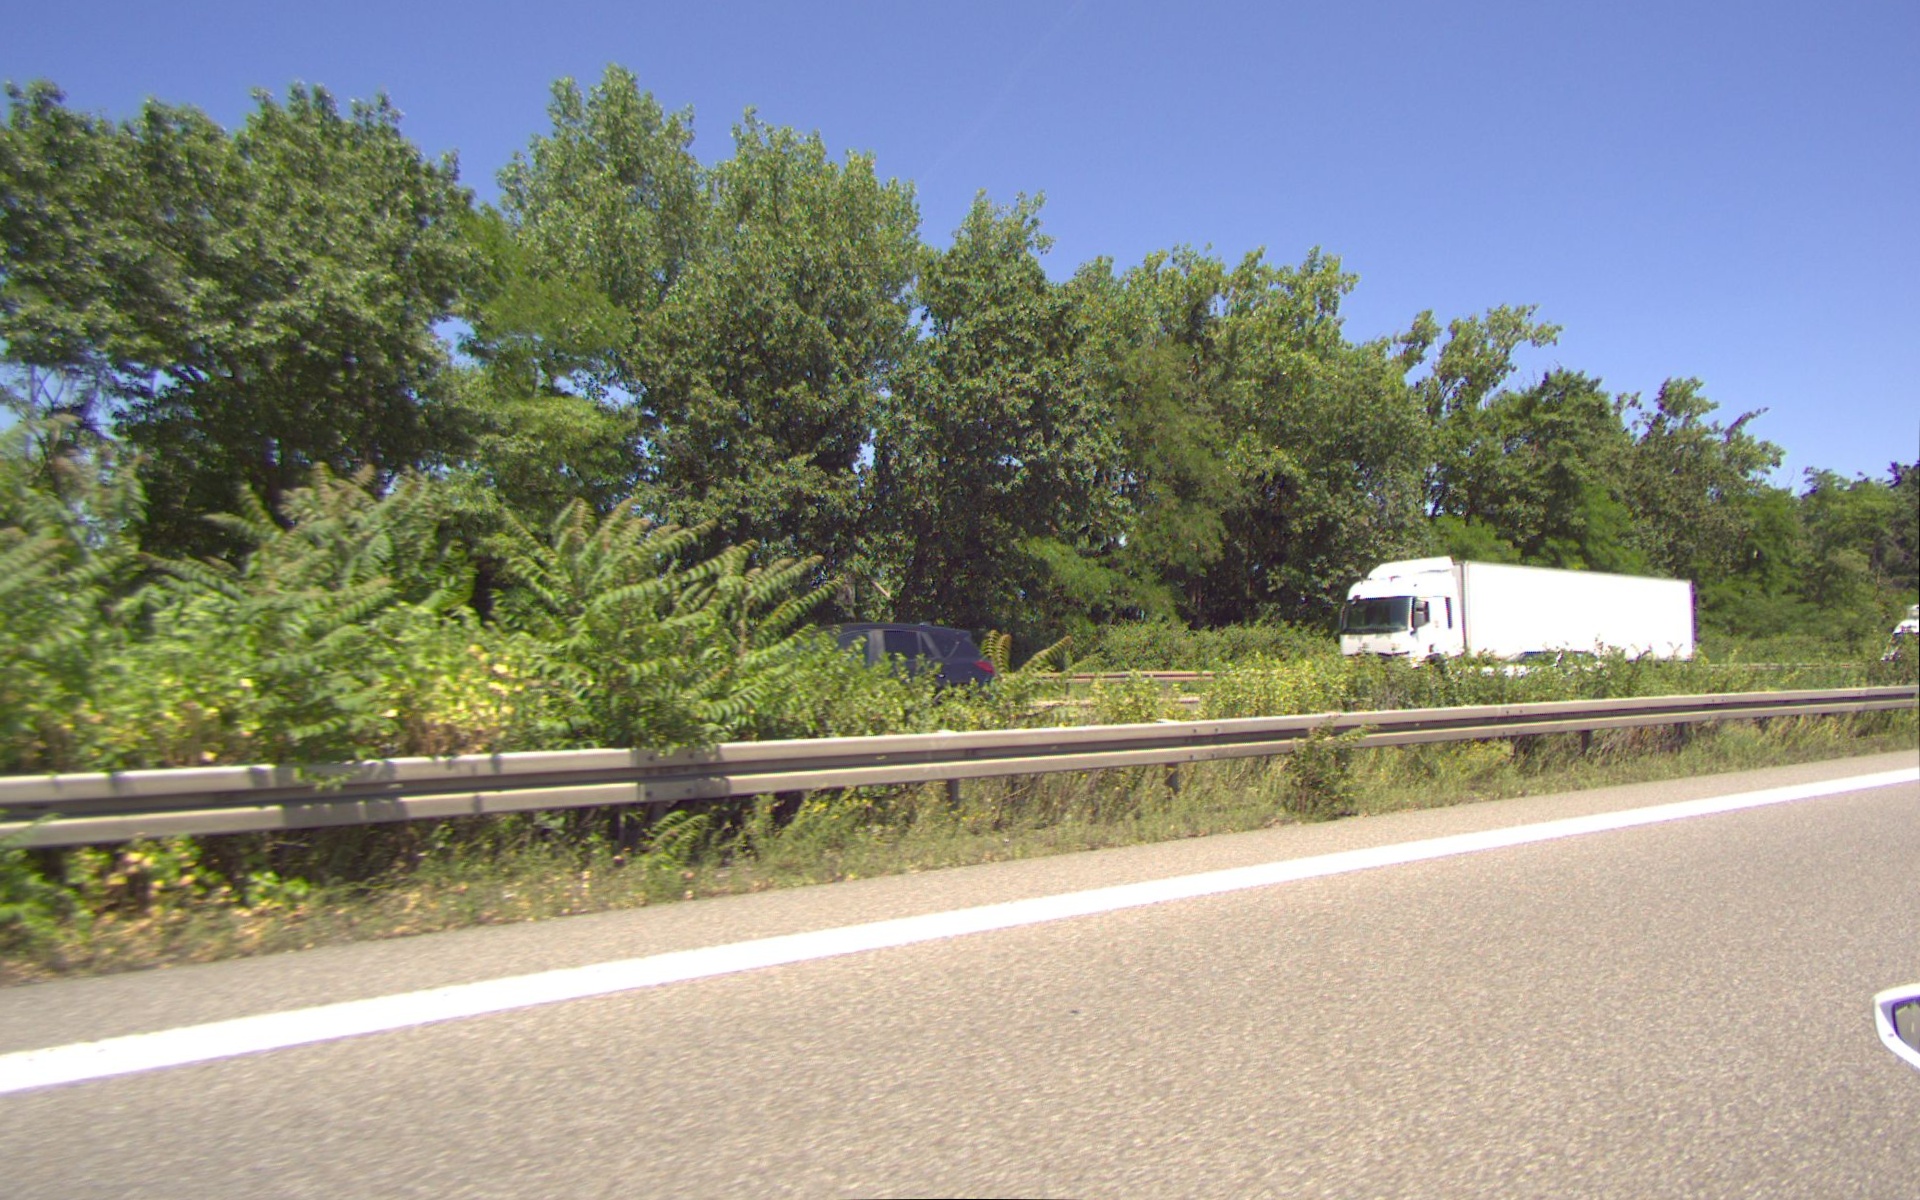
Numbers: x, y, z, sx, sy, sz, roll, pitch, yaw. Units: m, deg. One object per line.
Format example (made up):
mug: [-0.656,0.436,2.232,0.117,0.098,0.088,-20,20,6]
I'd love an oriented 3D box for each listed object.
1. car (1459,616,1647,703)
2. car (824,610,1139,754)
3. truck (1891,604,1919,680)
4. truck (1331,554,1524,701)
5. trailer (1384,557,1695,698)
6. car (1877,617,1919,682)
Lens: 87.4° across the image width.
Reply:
car: [15.559,1.523,26.314,5.027,2.082,2.114,2,-2,-31]
car: [0.312,1.035,13.598,3.846,1.667,1.838,2,0,-29]
truck: [53.091,2.256,53.276,9.166,3.878,2.913,2,-2,-30]
truck: [14.411,0.909,30.903,5.793,4.143,2.473,2,-3,-30]
trailer: [20.141,1.077,34.253,14.080,4.143,2.525,2,-3,-31]
car: [39.376,2.008,40.574,5.027,2.499,2.114,2,-2,-31]
